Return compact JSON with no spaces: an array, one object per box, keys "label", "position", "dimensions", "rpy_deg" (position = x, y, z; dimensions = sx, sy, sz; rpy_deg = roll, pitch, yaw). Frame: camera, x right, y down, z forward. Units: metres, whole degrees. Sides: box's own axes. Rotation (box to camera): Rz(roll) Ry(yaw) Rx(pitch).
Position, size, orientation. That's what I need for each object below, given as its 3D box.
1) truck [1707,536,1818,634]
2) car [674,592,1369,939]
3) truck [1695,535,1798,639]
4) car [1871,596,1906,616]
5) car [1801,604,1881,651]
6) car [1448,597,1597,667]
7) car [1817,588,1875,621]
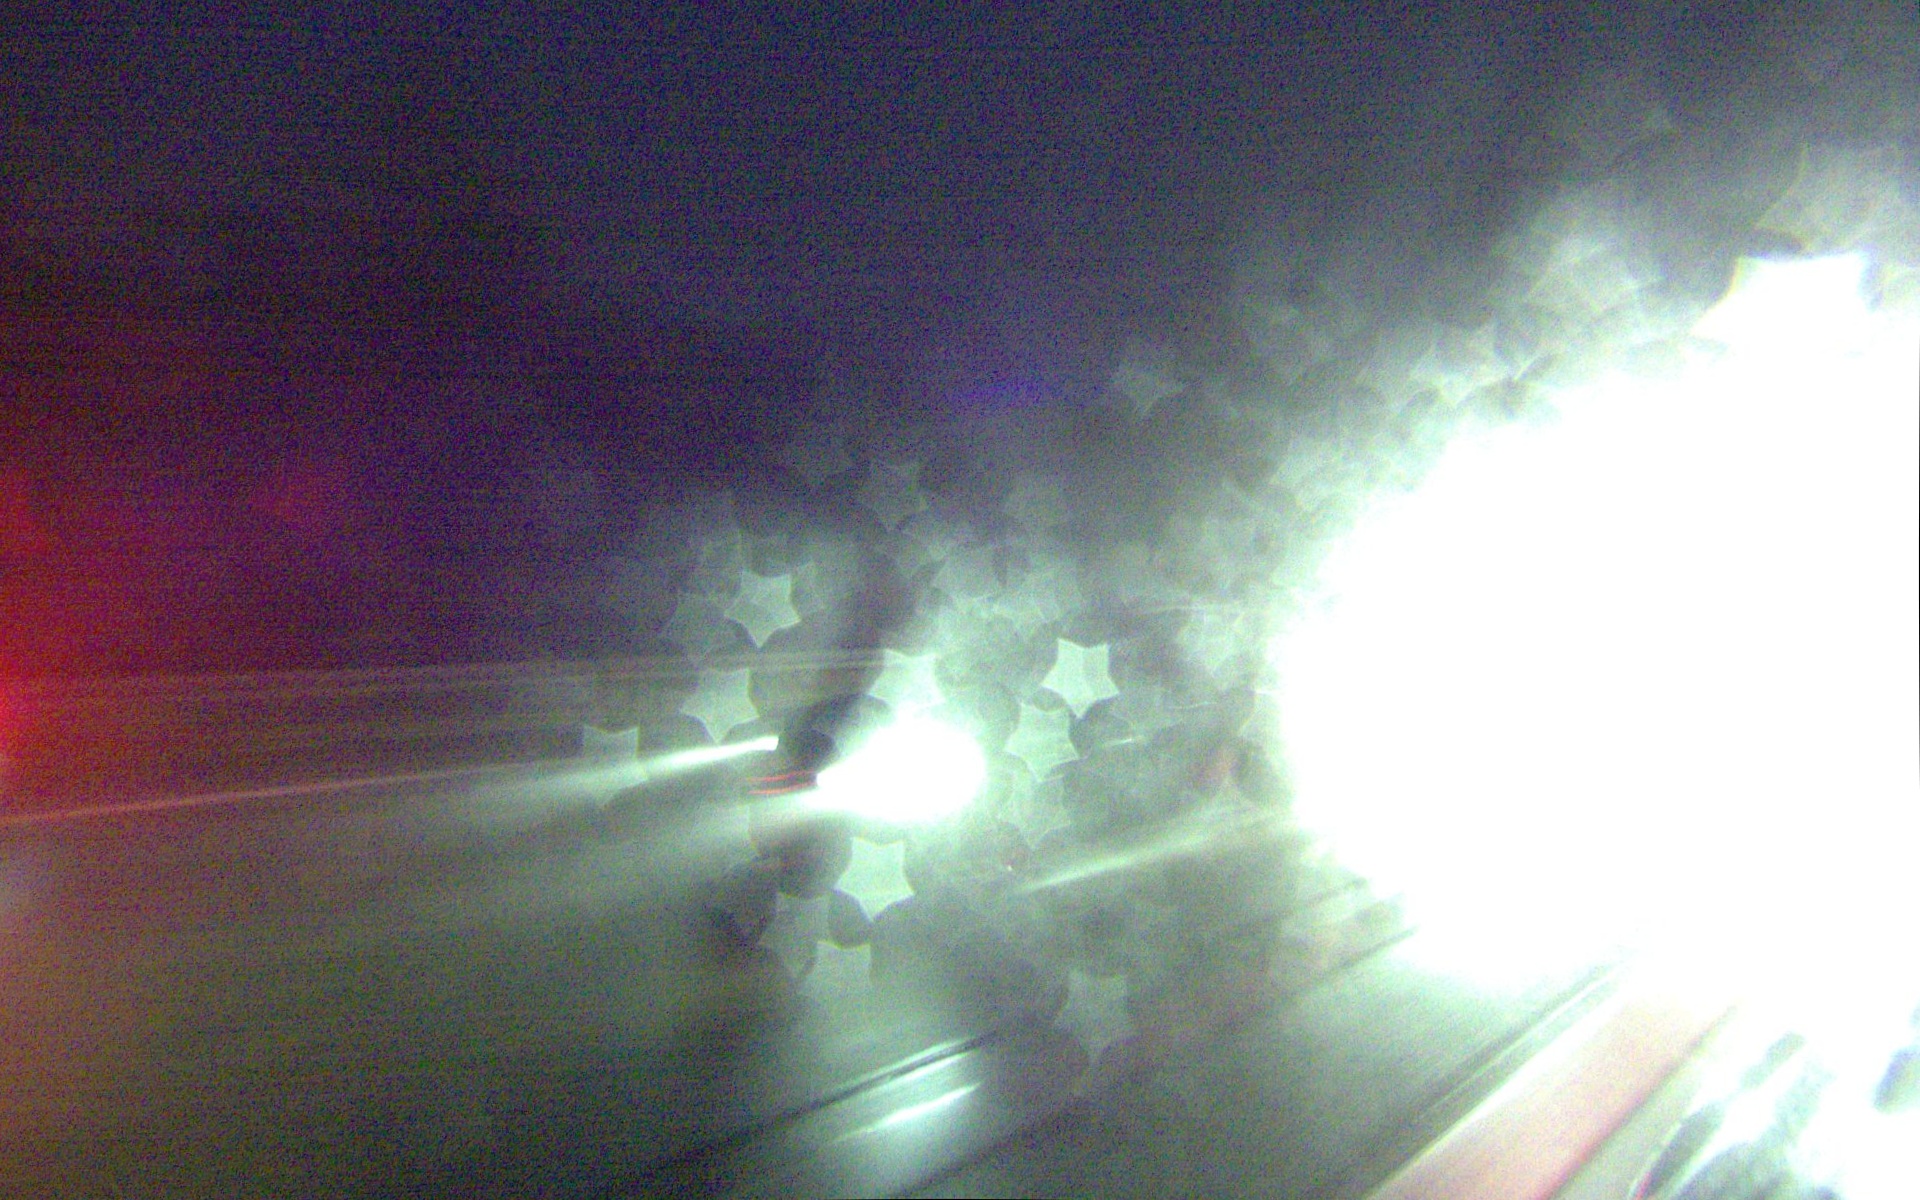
[{"label":"truck","position":[40.045,-0.968,50.229],"dimensions":[2.760,4.272,13.611],"rpy_deg":[5,5,44]},{"label":"car","position":[0.610,0.686,6.440],"dimensions":[4.259,1.467,1.997],"rpy_deg":[0,0,-41]},{"label":"truck","position":[35.152,-0.705,45.170],"dimensions":[2.760,4.272,6.098],"rpy_deg":[5,5,44]},{"label":"car","position":[65.569,0.430,71.458],"dimensions":[1.708,1.310,3.928],"rpy_deg":[5,3,43]},{"label":"car","position":[28.244,0.855,32.399],"dimensions":[1.708,1.310,3.928],"rpy_deg":[5,3,43]},{"label":"car","position":[13.312,0.678,23.847],"dimensions":[4.253,1.505,1.791],"rpy_deg":[0,0,-42]},{"label":"car","position":[39.292,0.194,44.863],"dimensions":[1.708,1.310,3.928],"rpy_deg":[5,3,43]}]
